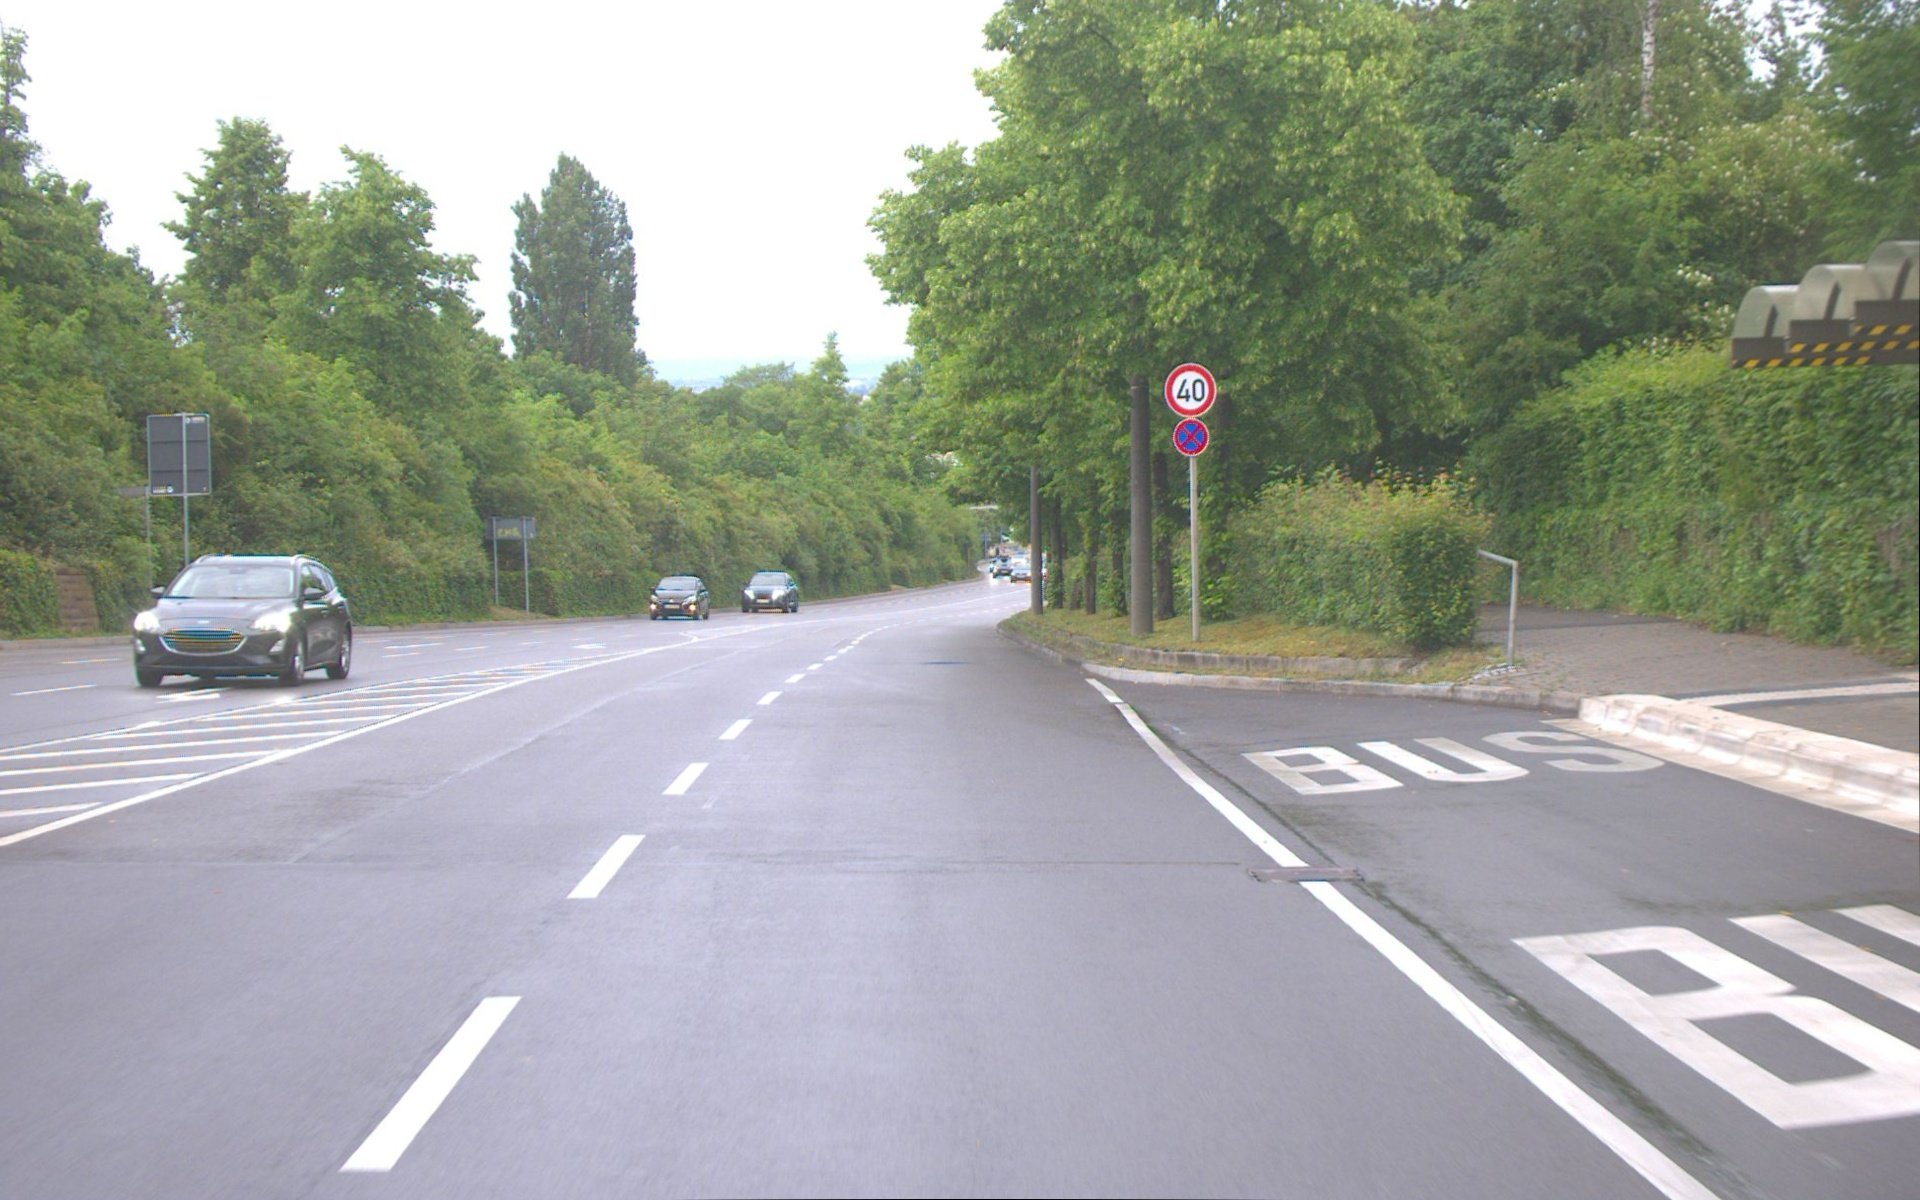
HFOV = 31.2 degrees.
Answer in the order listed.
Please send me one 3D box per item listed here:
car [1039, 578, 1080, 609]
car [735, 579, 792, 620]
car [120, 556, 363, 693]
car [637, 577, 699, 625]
[{"bbox_3d":[5.389,-0.350,185.392,1.945,1.585,3.927,0,1,6],"label":"car"},{"bbox_3d":[-7.925,-0.025,138.844,1.864,1.584,3.892,2,0,2],"label":"car"},{"bbox_3d":[-8.140,0.245,39.323,1.778,1.467,4.645,0,0,0],"label":"car"},{"bbox_3d":[-9.930,0.022,117.102,1.725,1.560,3.893,2,0,0],"label":"car"}]
